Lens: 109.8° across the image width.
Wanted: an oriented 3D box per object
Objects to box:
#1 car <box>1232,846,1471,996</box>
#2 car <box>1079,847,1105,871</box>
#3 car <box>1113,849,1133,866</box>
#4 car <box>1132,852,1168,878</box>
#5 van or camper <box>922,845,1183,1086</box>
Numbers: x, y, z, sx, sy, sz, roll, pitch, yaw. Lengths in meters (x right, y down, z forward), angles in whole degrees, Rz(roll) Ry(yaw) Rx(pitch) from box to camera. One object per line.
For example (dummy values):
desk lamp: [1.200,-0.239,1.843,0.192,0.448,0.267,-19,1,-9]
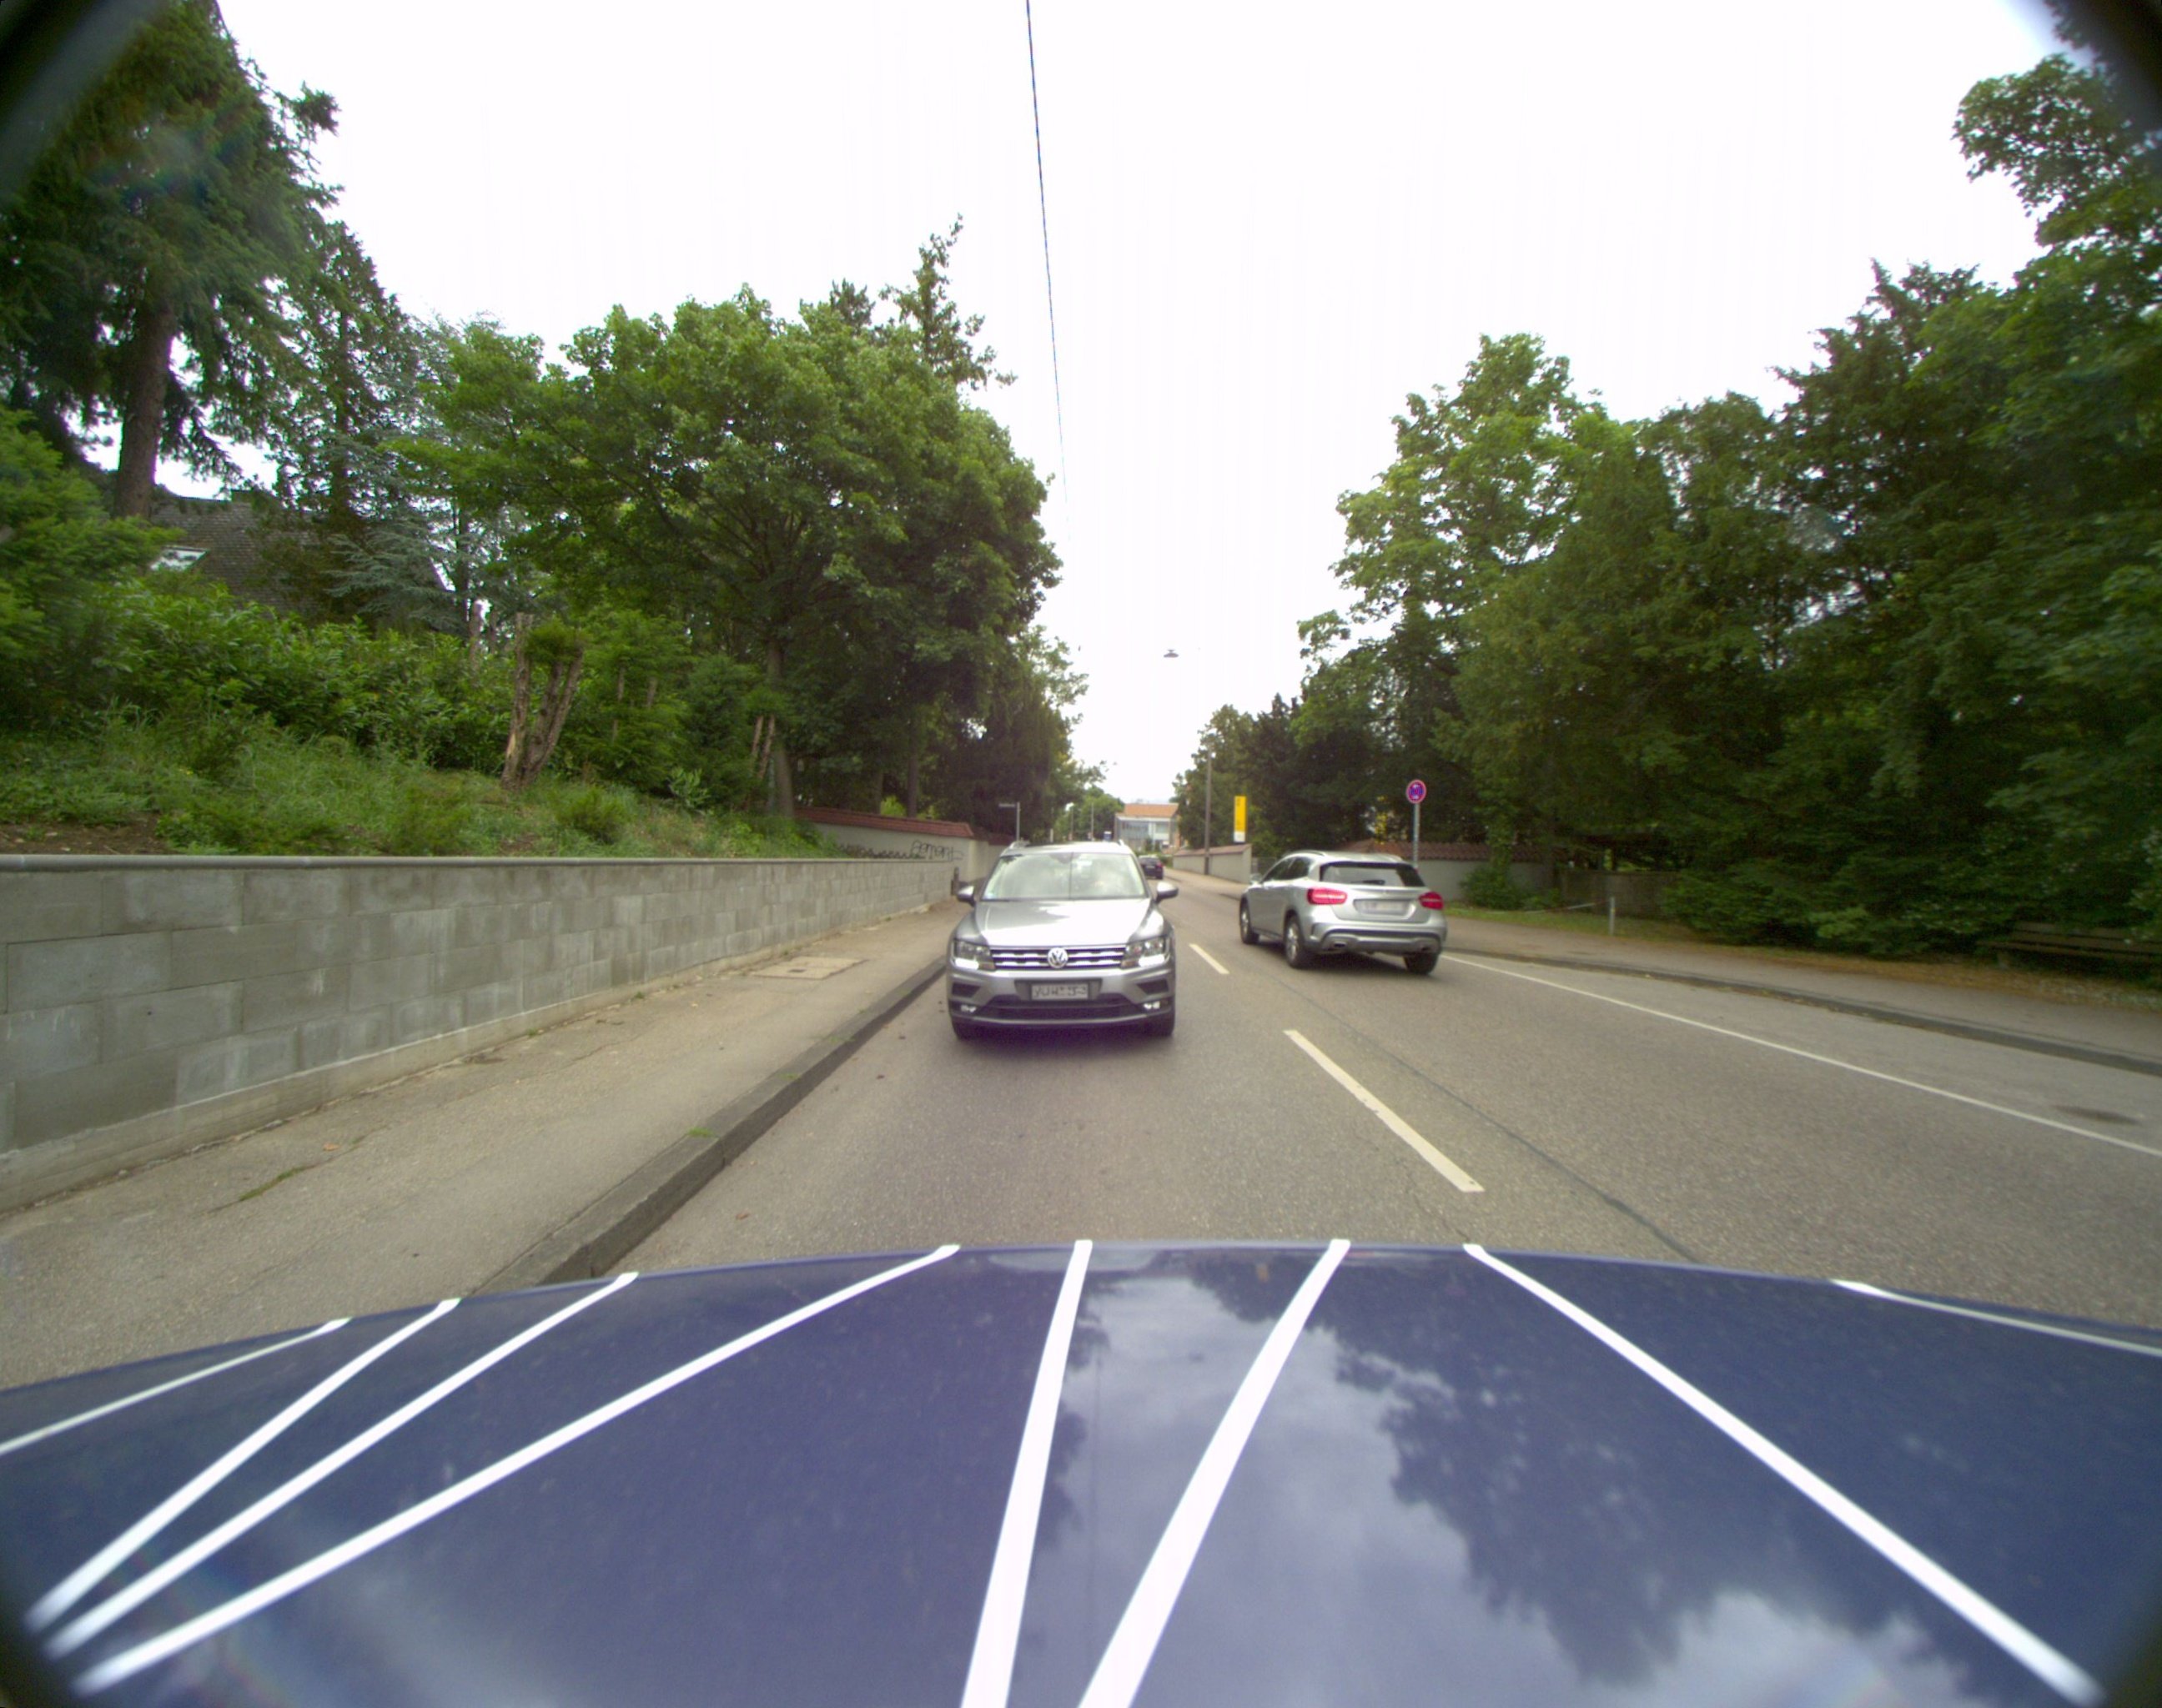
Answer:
car: [3.512,0.756,10.770,1.789,1.644,4.120,3,0,-1]
car: [0.785,0.365,56.308,1.789,1.644,4.120,3,0,1]
car: [4.277,0.323,78.249,1.864,1.648,4.305,3,0,1]
car: [4.265,0.654,47.363,1.864,1.445,4.110,3,0,1]
van or camper: [-0.172,0.758,7.371,1.800,1.663,4.198,0,0,1]
